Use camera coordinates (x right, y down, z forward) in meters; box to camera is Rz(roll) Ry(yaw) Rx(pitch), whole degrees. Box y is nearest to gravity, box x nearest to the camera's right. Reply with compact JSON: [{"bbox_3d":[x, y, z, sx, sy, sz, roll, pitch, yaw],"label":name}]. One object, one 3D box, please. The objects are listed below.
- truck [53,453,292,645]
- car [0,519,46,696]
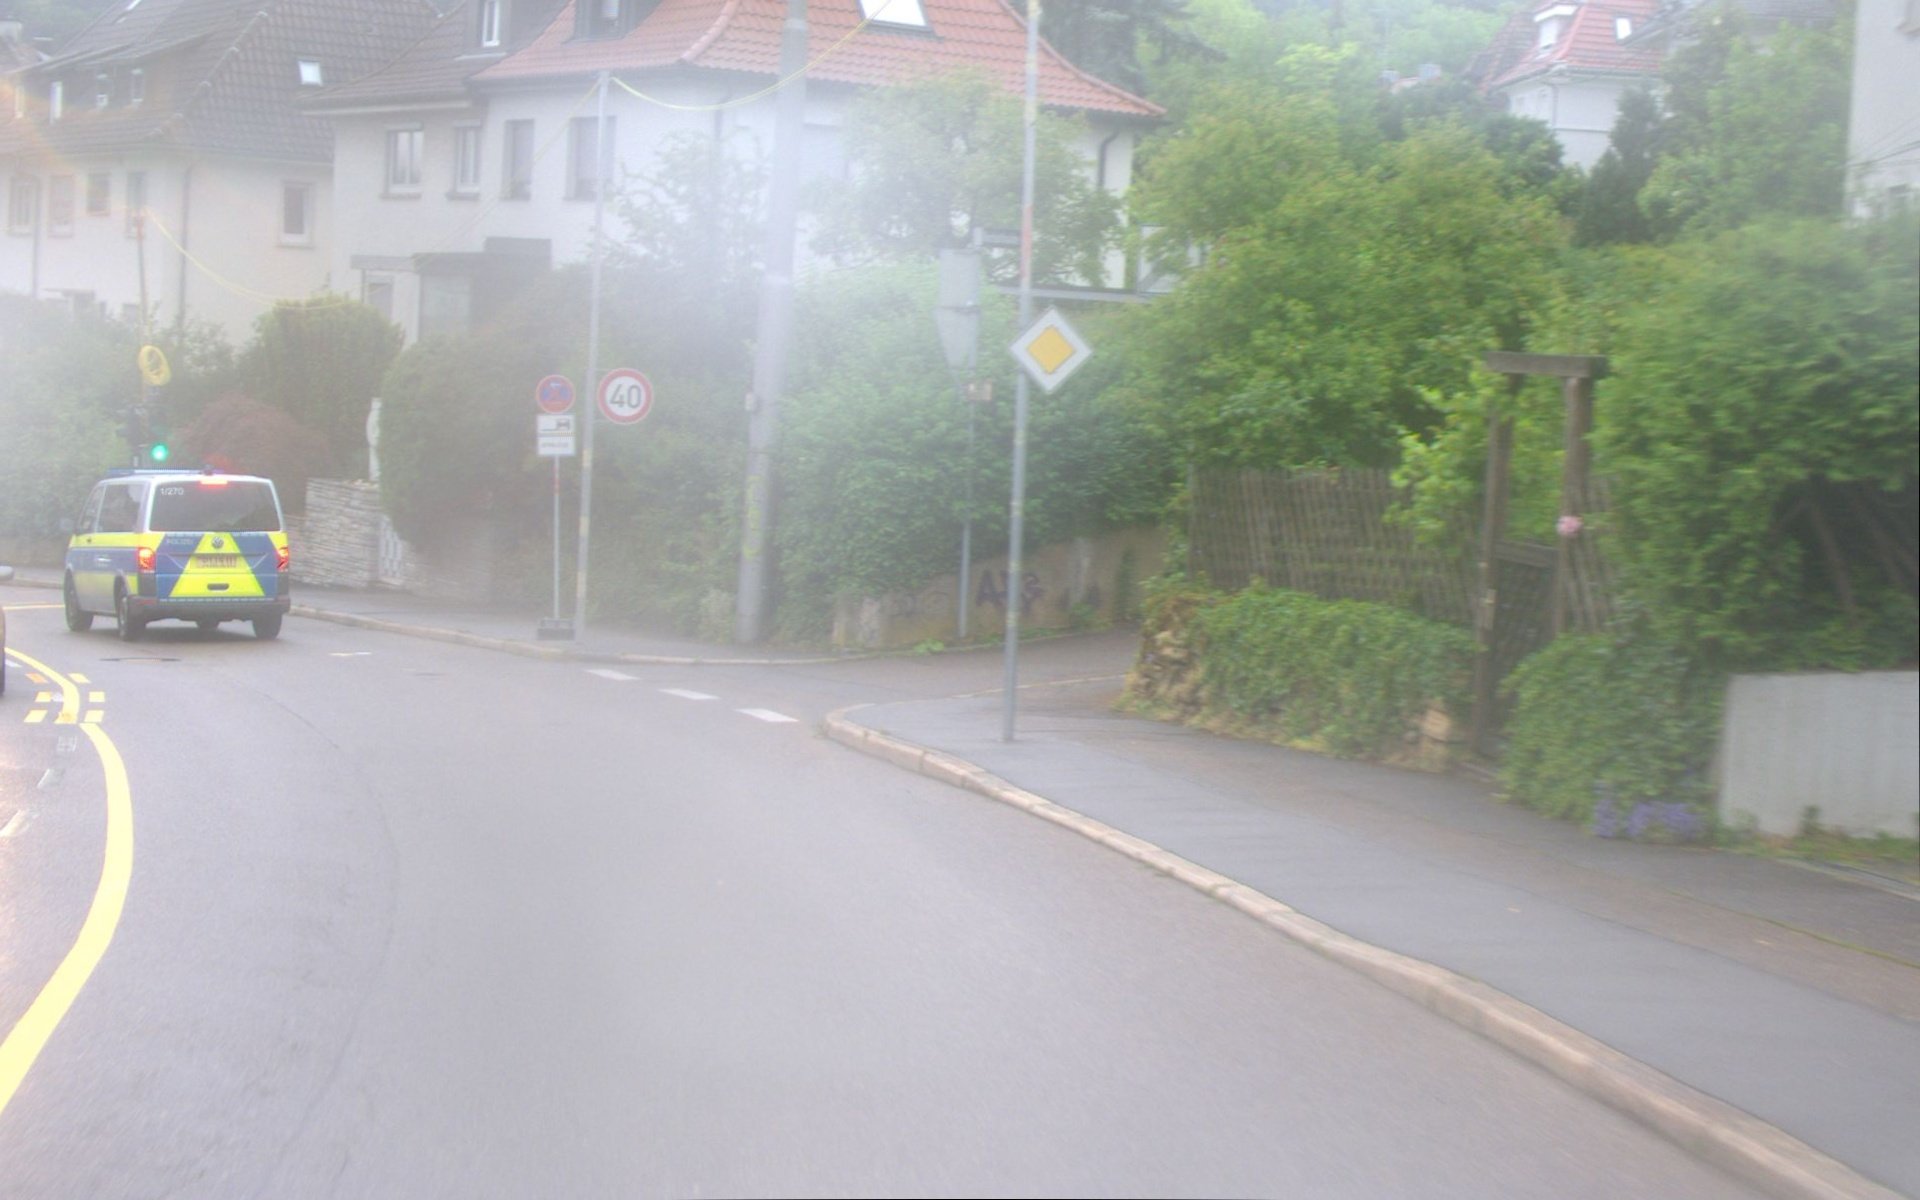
[{"bbox_3d":[-9.596,-0.668,41.609,1.993,2.006,4.737,0,4,-23],"label":"truck"},{"bbox_3d":[-9.220,-0.010,30.173,1.993,1.459,4.001,2,1,-11],"label":"car"}]
